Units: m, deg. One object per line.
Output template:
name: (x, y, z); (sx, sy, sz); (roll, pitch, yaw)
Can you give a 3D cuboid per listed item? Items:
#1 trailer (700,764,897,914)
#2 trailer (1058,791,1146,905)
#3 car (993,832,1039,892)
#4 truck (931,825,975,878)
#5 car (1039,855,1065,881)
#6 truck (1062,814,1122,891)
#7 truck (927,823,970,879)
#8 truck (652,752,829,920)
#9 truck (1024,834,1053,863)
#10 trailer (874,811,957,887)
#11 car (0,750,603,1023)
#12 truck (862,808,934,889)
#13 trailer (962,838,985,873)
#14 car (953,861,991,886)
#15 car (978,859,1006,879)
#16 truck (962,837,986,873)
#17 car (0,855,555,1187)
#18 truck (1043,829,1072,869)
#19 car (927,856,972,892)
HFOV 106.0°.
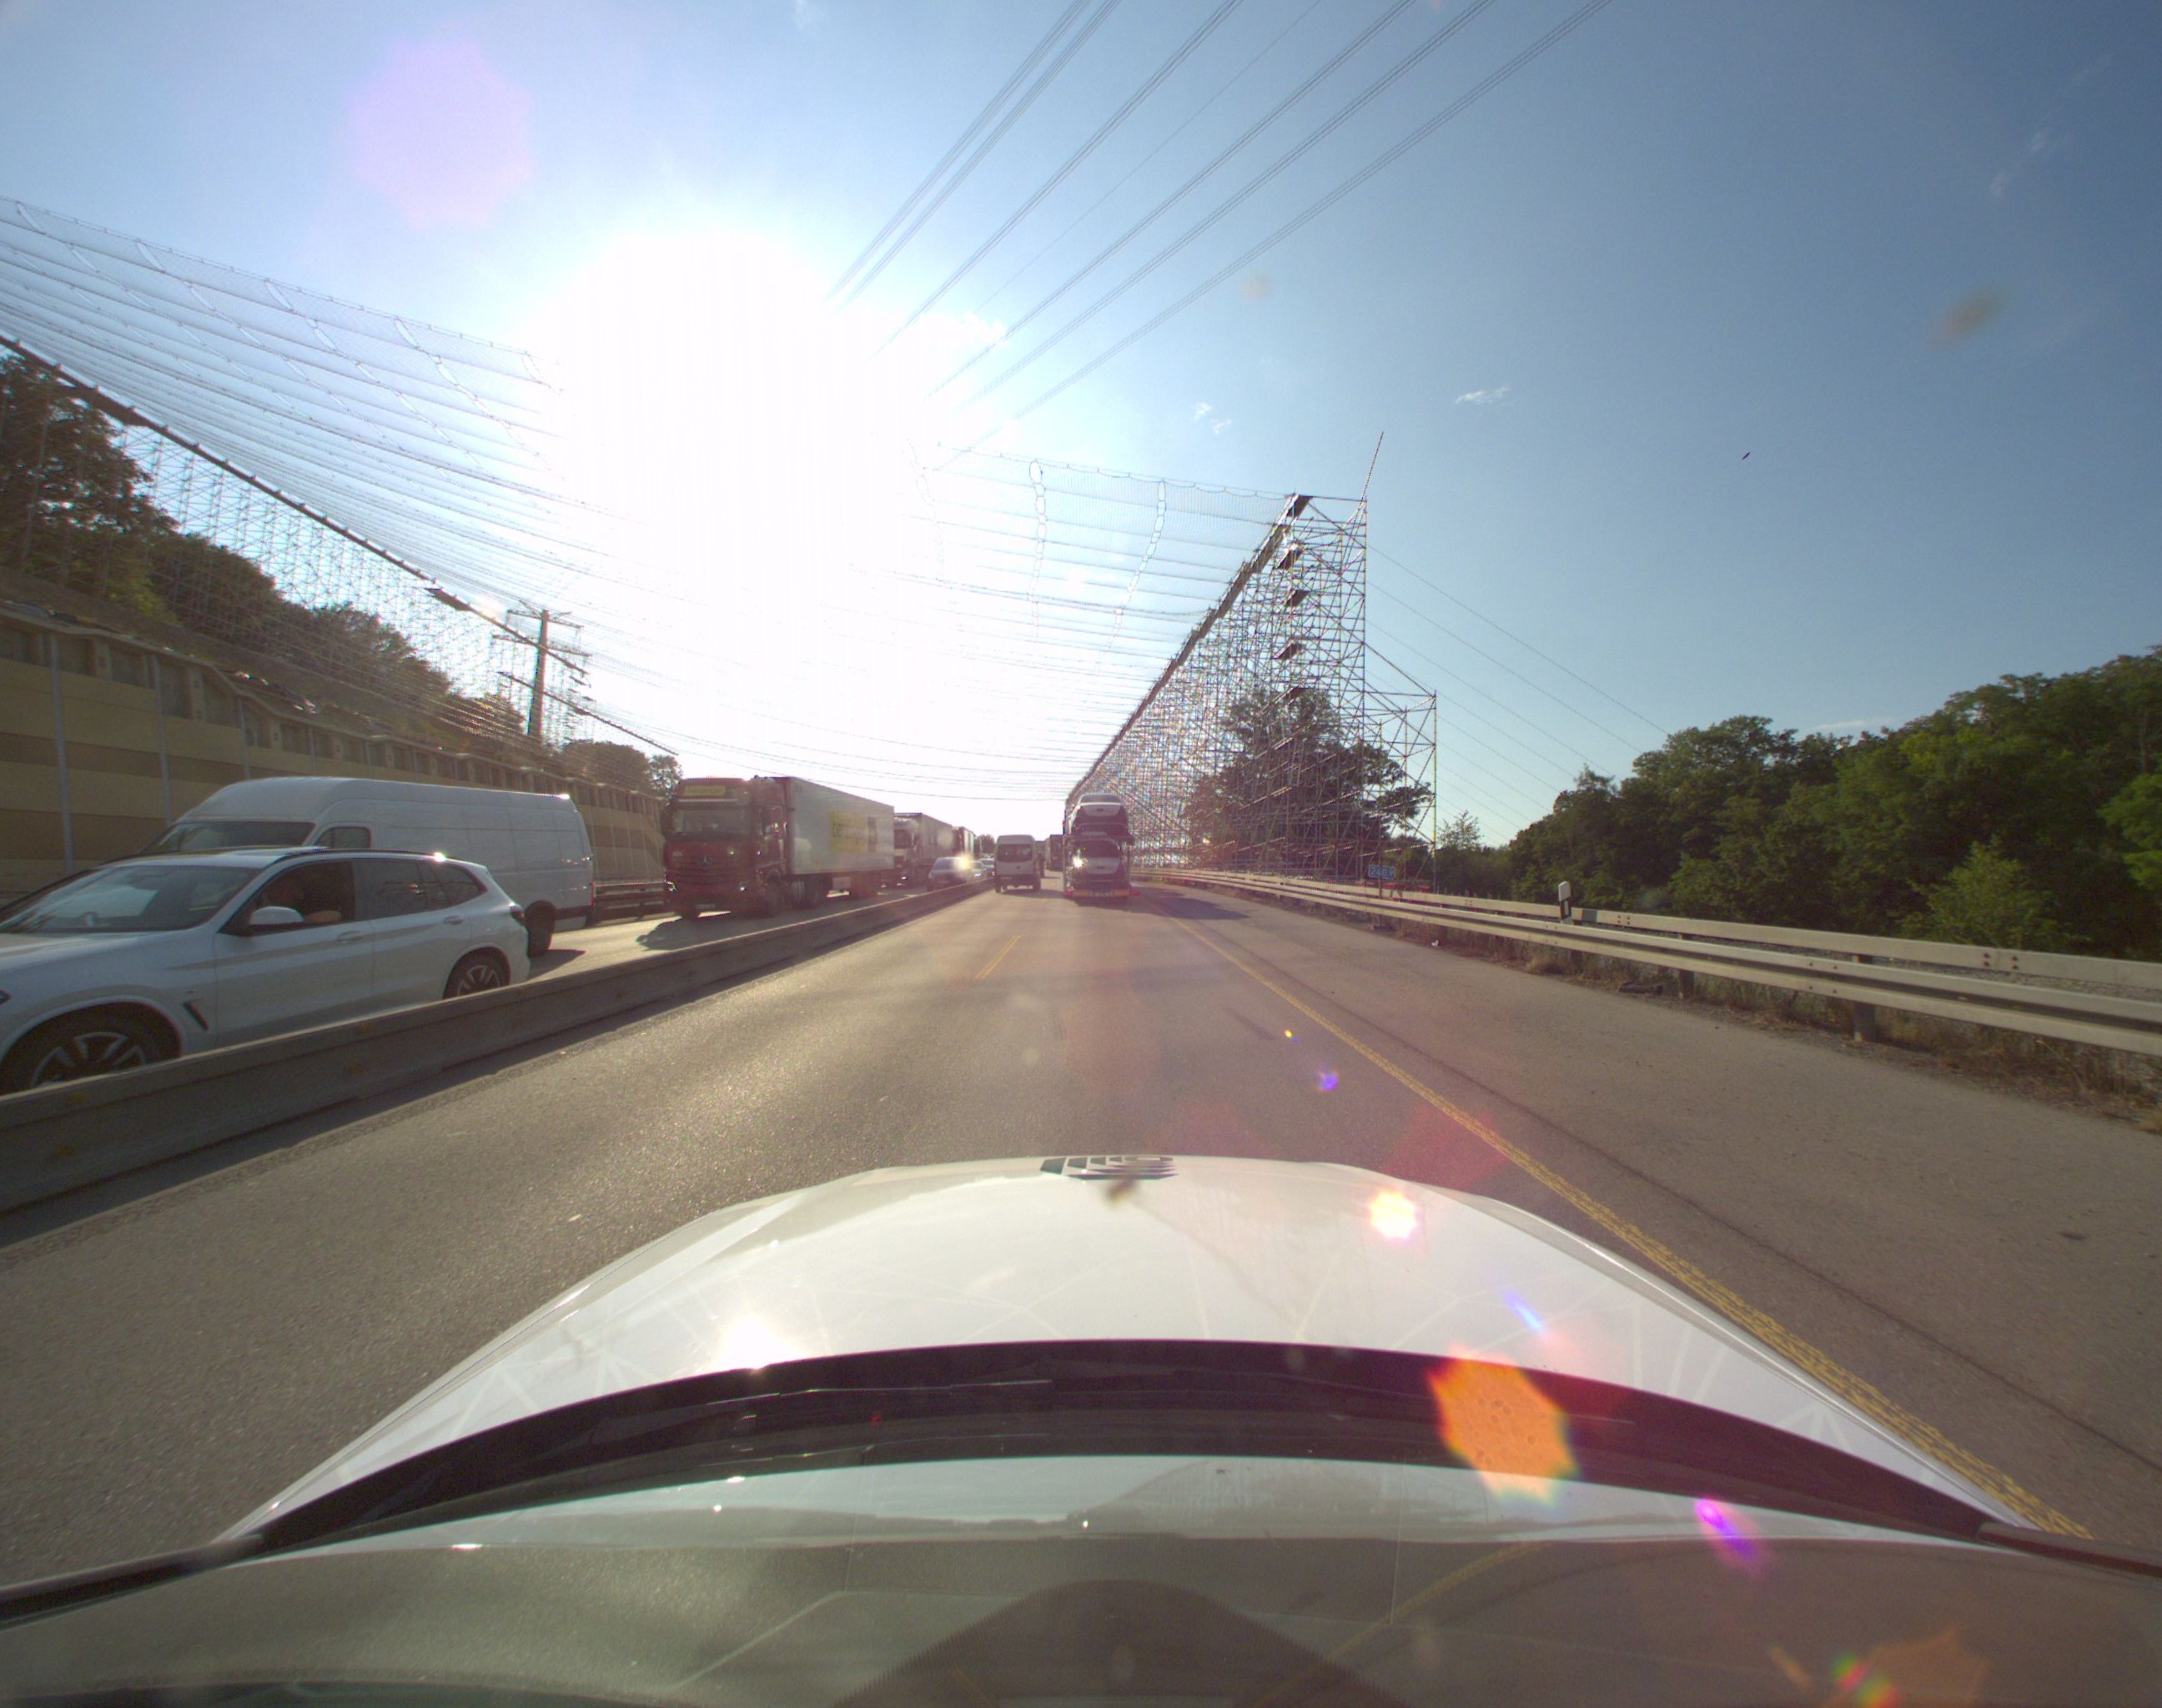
trailer: (-9.770, -0.374, 30.631); (2.758, 4.334, 13.874); (-1, -1, -1)
trailer: (0.614, -0.113, 34.319); (2.860, 3.725, 14.940); (-1, -1, -1)
car: (-2.982, 0.392, 38.122); (1.952, 2.621, 3.995); (-1, -1, -3)
truck: (-10.865, -0.142, 70.547); (2.783, 4.141, 13.782); (-1, -1, -5)
car: (-2.319, 1.131, 65.277); (1.989, 2.014, 3.996); (0, -1, -3)
truck: (0.462, -0.055, 43.055); (2.874, 3.702, 7.320); (-1, -1, -1)
truck: (-10.316, -0.205, 63.986); (2.783, 4.141, 6.667); (-1, -1, -5)
truck: (-9.664, -0.439, 23.898); (2.737, 4.300, 5.931); (-1, -1, -1)
truck: (-6.790, -0.885, 132.685); (3.675, 4.220, 13.666); (-3, 0, 0)
trailer: (-10.129, -0.201, 51.565); (2.791, 4.141, 13.955); (-1, -1, -2)
car: (-9.901, 0.287, 11.547); (2.014, 2.690, 6.951); (0, 0, 1)
truck: (-9.942, -0.267, 44.777); (2.780, 4.141, 5.929); (-1, -1, -2)
trailer: (-13.616, 0.198, 104.260); (2.651, 4.233, 13.887); (1, 0, -7)
car: (-6.671, 1.172, 50.209); (1.726, 1.377, 4.888); (1, 0, -1)
car: (-7.051, 1.195, 64.724); (1.727, 1.439, 4.835); (3, -1, -1)
truck: (-12.780, 0.134, 97.351); (2.660, 4.230, 6.088); (-1, 0, -7)
car: (-6.403, 0.858, 6.007); (1.863, 1.588, 4.804); (1, 1, 0)
truck: (-2.786, -0.529, 93.891); (2.727, 4.385, 11.503); (0, 0, -4)
car: (-6.441, 0.935, 40.384); (1.749, 1.657, 4.856); (-1, 0, -4)
